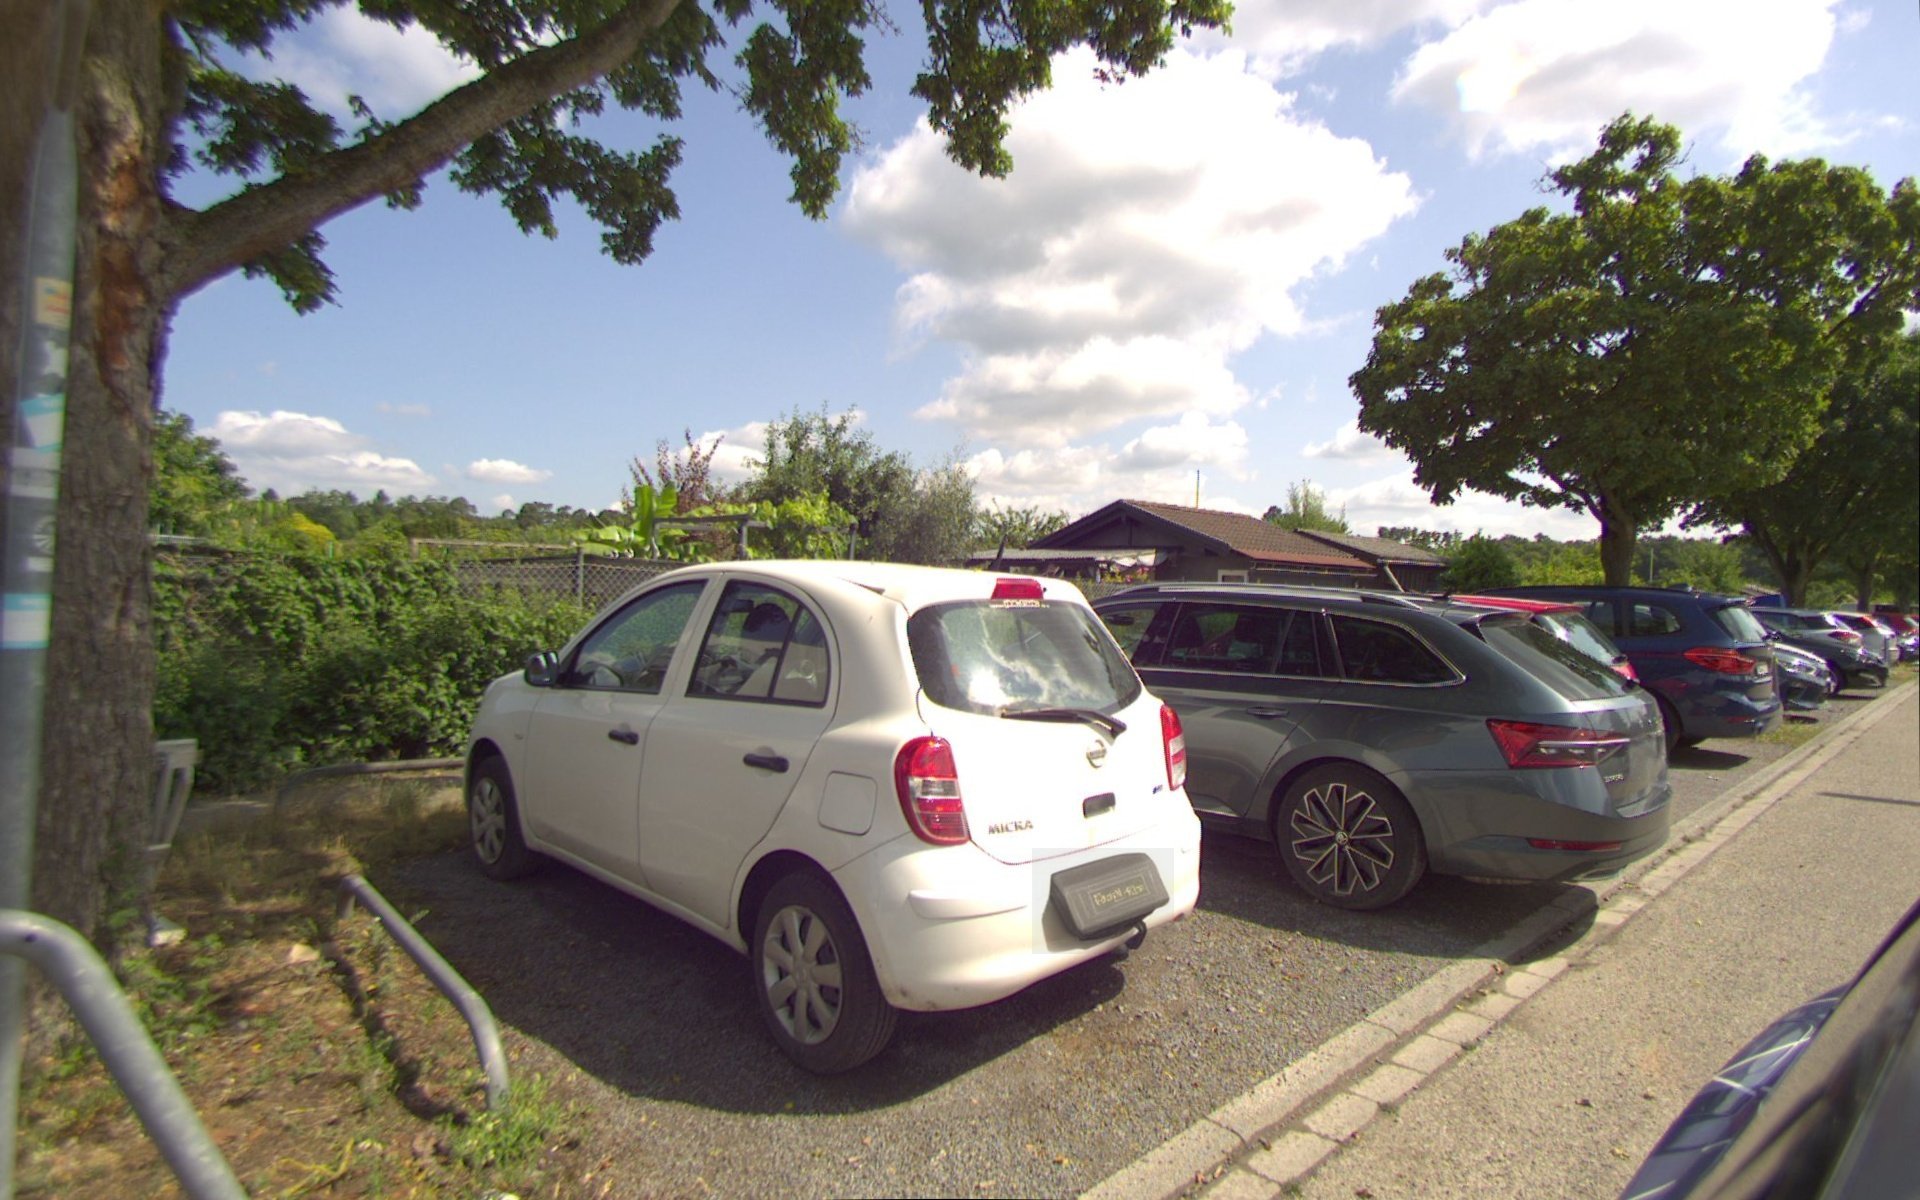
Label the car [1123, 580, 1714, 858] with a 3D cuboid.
[{"bbox_3d":[3.333,0.666,7.890,1.732,1.551,3.815,1,1,-42],"label":"car"}]

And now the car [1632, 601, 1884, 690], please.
[{"bbox_3d":[15.563,0.805,19.838,3.724,1.559,1.820,0,0,45],"label":"car"}]

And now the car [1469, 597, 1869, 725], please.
[{"bbox_3d":[9.807,0.726,14.262,1.942,1.511,4.339,0,0,-43],"label":"car"}]

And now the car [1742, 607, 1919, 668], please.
[{"bbox_3d":[23.347,0.936,26.734,1.839,1.474,4.067,1,0,-45],"label":"car"}]

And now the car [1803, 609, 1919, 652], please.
[{"bbox_3d":[33.378,1.075,36.666,4.238,1.446,1.878,0,0,44],"label":"car"}]

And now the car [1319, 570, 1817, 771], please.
[{"bbox_3d":[6.233,0.558,10.763,1.846,1.658,4.162,1,1,-41],"label":"car"}]

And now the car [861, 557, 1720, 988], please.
[{"bbox_3d":[1.559,0.641,6.002,4.548,1.598,1.780,0,0,44],"label":"car"}]

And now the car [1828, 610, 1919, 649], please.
[{"bbox_3d":[38.524,1.189,41.558,1.845,1.523,4.189,0,0,-41],"label":"car"}]

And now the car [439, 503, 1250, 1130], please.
[{"bbox_3d":[-0.765,0.541,4.394,3.574,1.569,1.640,0,0,45],"label":"car"}]

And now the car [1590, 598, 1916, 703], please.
[{"bbox_3d":[13.848,0.777,17.860,1.966,1.614,4.306,1,0,-43],"label":"car"}]

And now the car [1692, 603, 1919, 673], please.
[{"bbox_3d":[20.588,0.855,24.703,1.923,1.531,4.073,0,0,-39],"label":"car"}]

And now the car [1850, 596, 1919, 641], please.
[{"bbox_3d":[44.142,0.888,46.564,2.076,1.910,4.639,1,1,-44],"label":"car"}]

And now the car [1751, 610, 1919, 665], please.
[{"bbox_3d":[25.482,1.042,29.164,1.923,1.442,3.918,0,0,-40],"label":"car"}]

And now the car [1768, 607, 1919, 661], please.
[{"bbox_3d":[27.906,1.013,31.509,1.821,1.539,3.995,0,0,-39],"label":"car"}]

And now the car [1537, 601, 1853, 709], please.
[{"bbox_3d":[11.627,0.770,16.178,1.870,1.511,3.816,1,0,-43],"label":"car"}]

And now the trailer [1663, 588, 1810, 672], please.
[{"bbox_3d":[17.120,0.642,22.346,2.450,1.742,1.494,0,-2,44],"label":"trailer"}]
